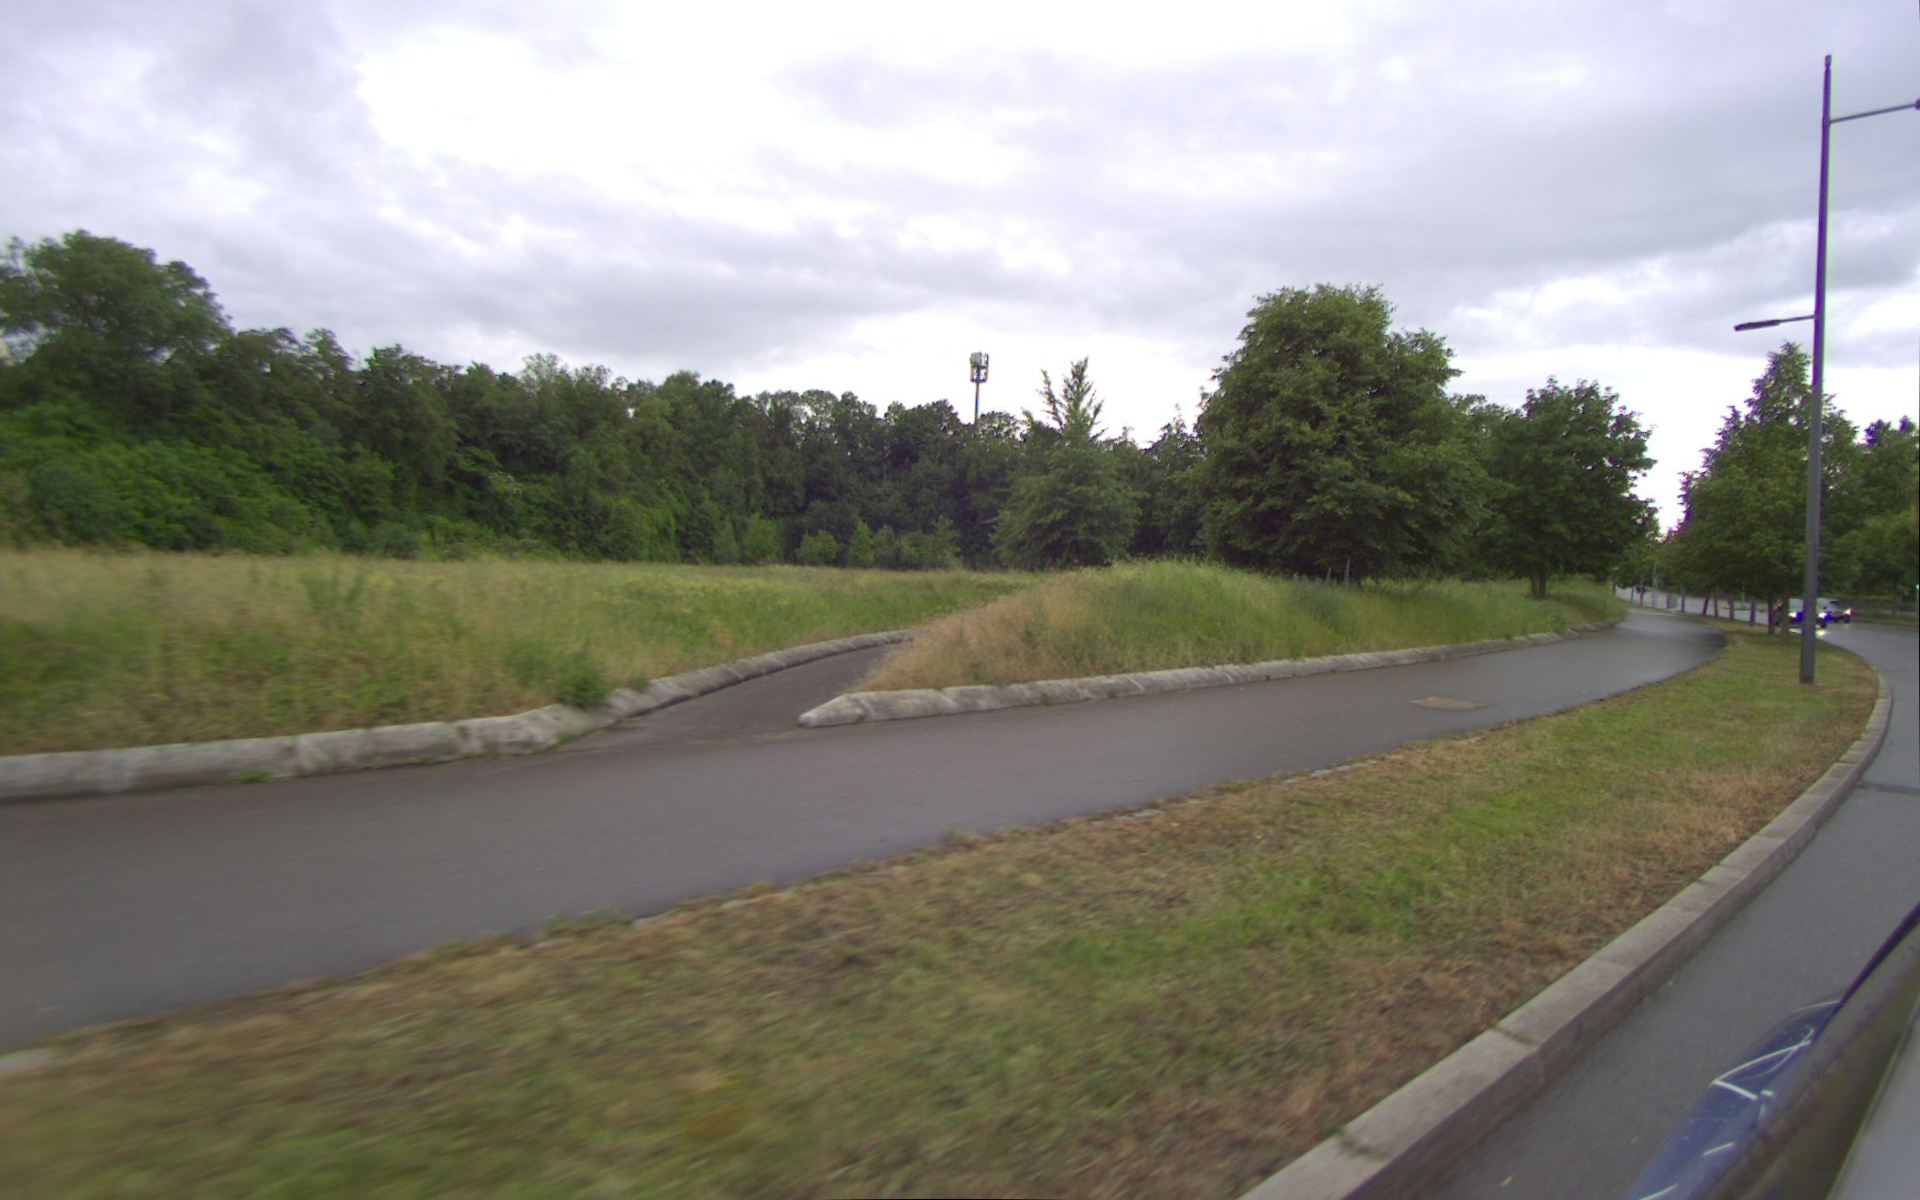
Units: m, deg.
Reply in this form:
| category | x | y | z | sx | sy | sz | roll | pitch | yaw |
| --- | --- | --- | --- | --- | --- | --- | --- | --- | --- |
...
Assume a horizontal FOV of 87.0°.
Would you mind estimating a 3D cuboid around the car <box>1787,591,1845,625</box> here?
| category | x | y | z | sx | sy | sz | roll | pitch | yaw |
| --- | --- | --- | --- | --- | --- | --- | --- | --- | --- |
| car | 43.992 | 0.380 | 52.072 | 1.813 | 1.575 | 3.953 | 1 | 2 | 34 |

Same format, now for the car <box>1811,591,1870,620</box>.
| category | x | y | z | sx | sy | sz | roll | pitch | yaw |
| --- | --- | --- | --- | --- | --- | --- | --- | --- | --- |
| car | 53.010 | 0.287 | 60.991 | 1.809 | 1.575 | 3.960 | 1 | 2 | 29 |
